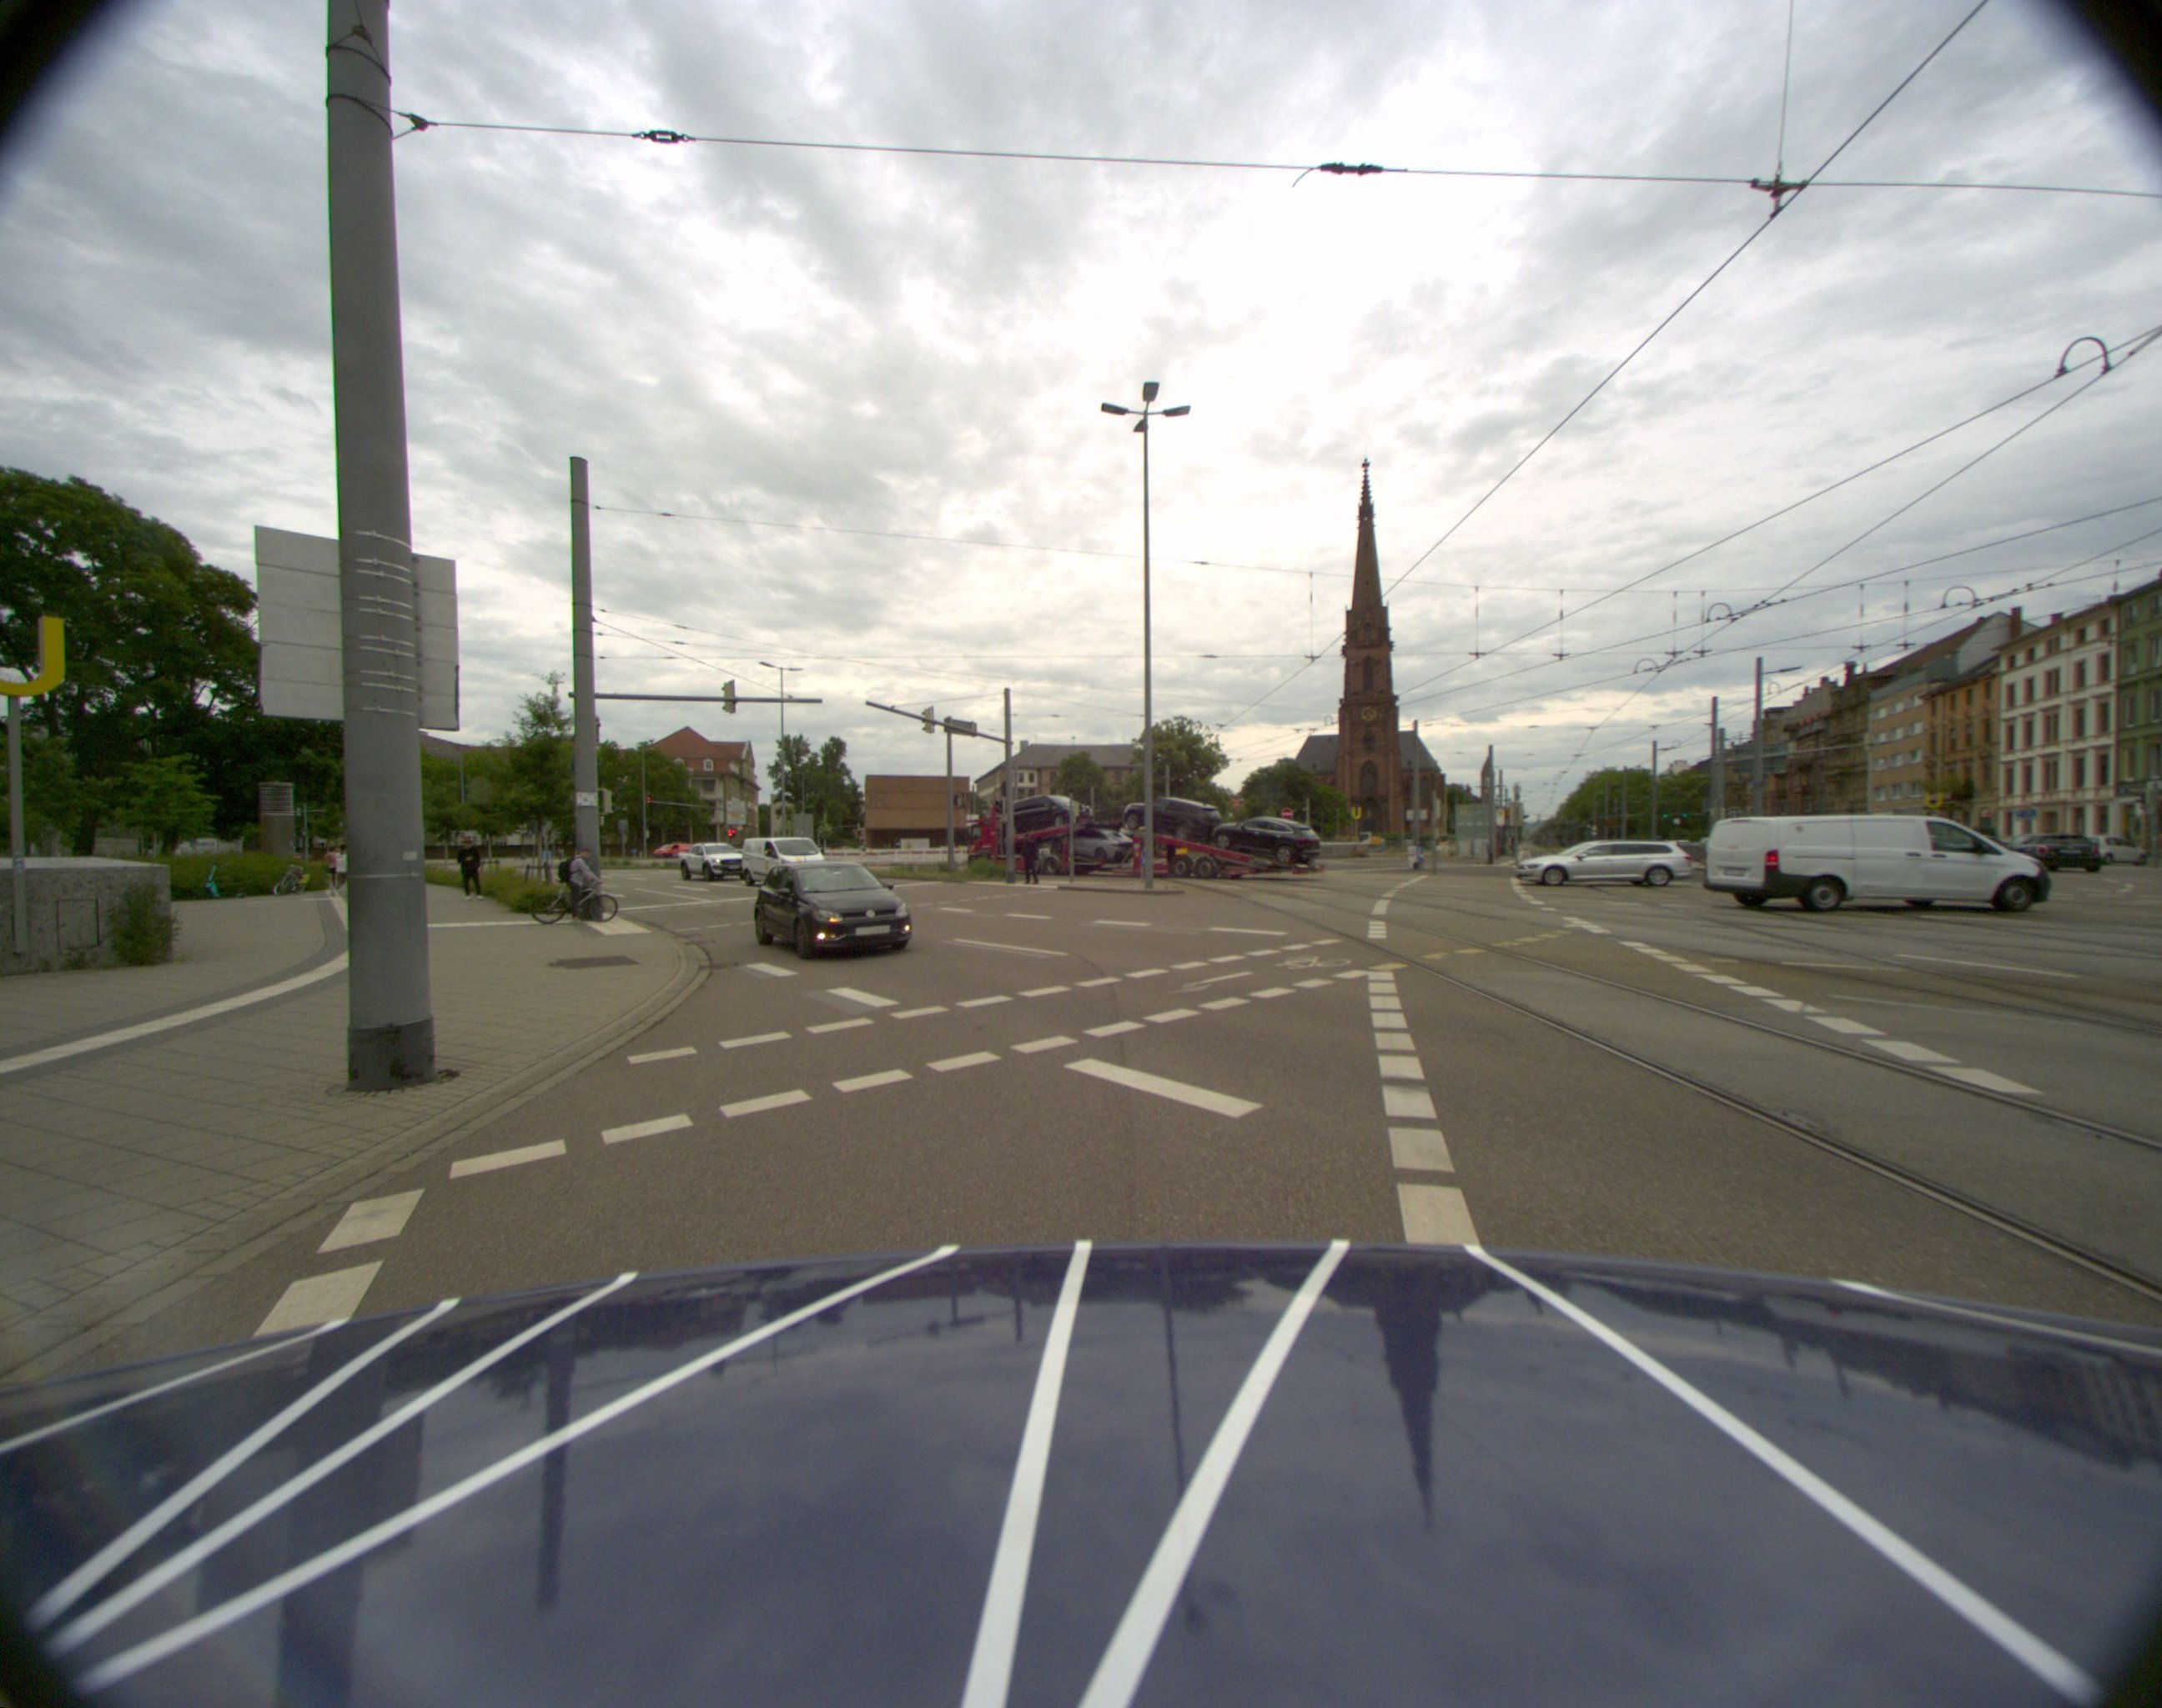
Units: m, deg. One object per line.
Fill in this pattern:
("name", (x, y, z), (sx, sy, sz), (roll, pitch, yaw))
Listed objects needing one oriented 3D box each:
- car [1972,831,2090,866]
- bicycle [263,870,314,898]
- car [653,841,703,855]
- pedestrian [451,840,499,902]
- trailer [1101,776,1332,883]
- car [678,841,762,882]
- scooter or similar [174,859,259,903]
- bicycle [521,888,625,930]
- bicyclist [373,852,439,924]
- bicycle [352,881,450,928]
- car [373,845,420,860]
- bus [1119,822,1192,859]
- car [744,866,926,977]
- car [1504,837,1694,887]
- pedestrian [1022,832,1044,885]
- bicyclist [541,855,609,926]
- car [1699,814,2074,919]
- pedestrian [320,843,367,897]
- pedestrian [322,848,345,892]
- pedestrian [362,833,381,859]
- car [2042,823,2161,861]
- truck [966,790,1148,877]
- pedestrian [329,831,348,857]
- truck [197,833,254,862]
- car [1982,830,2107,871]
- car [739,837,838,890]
("car", (51.656, -0.312, 41.360), (3.998, 1.746, 2.080), (-1, 2, -4))
("bicycle", (-27.624, 1.034, 26.516), (0.559, 0.843, 2.068), (-1, 1, -28))
("car", (-48.610, -0.743, 91.712), (1.908, 1.707, 5.251), (0, 1, 22))
("pedestrian", (-19.124, 0.516, 23.995), (0.723, 1.917, 0.875), (0, 2, 14))
("trailer", (5.428, -0.980, 32.283), (9.525, 3.951, 3.002), (1, 3, 44))
("car", (-17.616, 0.314, 36.984), (4.737, 1.838, 2.095), (0, 2, 43))
("scooter or similar", (-28.037, 0.859, 24.681), (0.693, 1.283, 1.606), (-1, 2, 16))
("bicycle", (-11.438, 1.208, 17.147), (0.765, 0.835, 1.830), (1, 0, 43))
("bicyclist", (-15.127, 0.748, 17.043), (0.693, 1.551, 0.926), (1, 0, -8))
("bicycle", (-15.152, 1.099, 17.002), (0.673, 0.927, 1.858), (2, -1, -7))
("car", (-81.521, -0.200, 90.483), (3.994, 1.718, 2.000), (-1, 2, 7))
("bus", (6.616, -1.341, 69.921), (2.866, 3.060, 12.002), (-2, 2, -13))
("car", (-4.200, 0.967, 12.563), (1.659, 1.405, 3.989), (-1, 1, -36))
("car", (16.425, 0.236, 24.400), (4.668, 1.485, 2.002), (0, 1, 19))
("pedestrian", (-1.771, 0.151, 27.945), (0.781, 1.932, 0.981), (-1, 1, -5))
("bicyclist", (-11.409, 0.793, 17.144), (0.758, 1.512, 1.103), (1, 2, 43))
("car", (15.728, 0.207, 15.129), (5.083, 1.872, 1.923), (-1, 3, 6))
("pedestrian", (-25.027, 0.517, 25.795), (0.839, 1.795, 0.703), (-1, 2, -10))
("pedestrian", (-31.251, 0.669, 31.767), (0.596, 1.789, 0.632), (1, -1, 43))
("pedestrian", (-49.342, -0.552, 52.827), (0.597, 1.789, 0.721), (2, -1, 0))
("car", (51.417, -0.617, 38.129), (3.998, 1.746, 2.080), (-1, 2, -4))
("truck", (-1.555, -1.020, 38.957), (3.021, 3.898, 10.425), (-4, 3, -44))
("pedestrian", (-53.394, -0.707, 54.663), (0.597, 1.789, 0.721), (2, -1, 0))
("truck", (-123.858, -0.902, 109.979), (7.144, 4.003, 2.917), (-1, 2, 21))
("car", (36.757, -0.175, 29.132), (1.770, 1.460, 4.007), (0, 1, 33))
("car", (-11.806, 0.328, 30.526), (4.510, 1.931, 2.004), (1, 2, 45))
